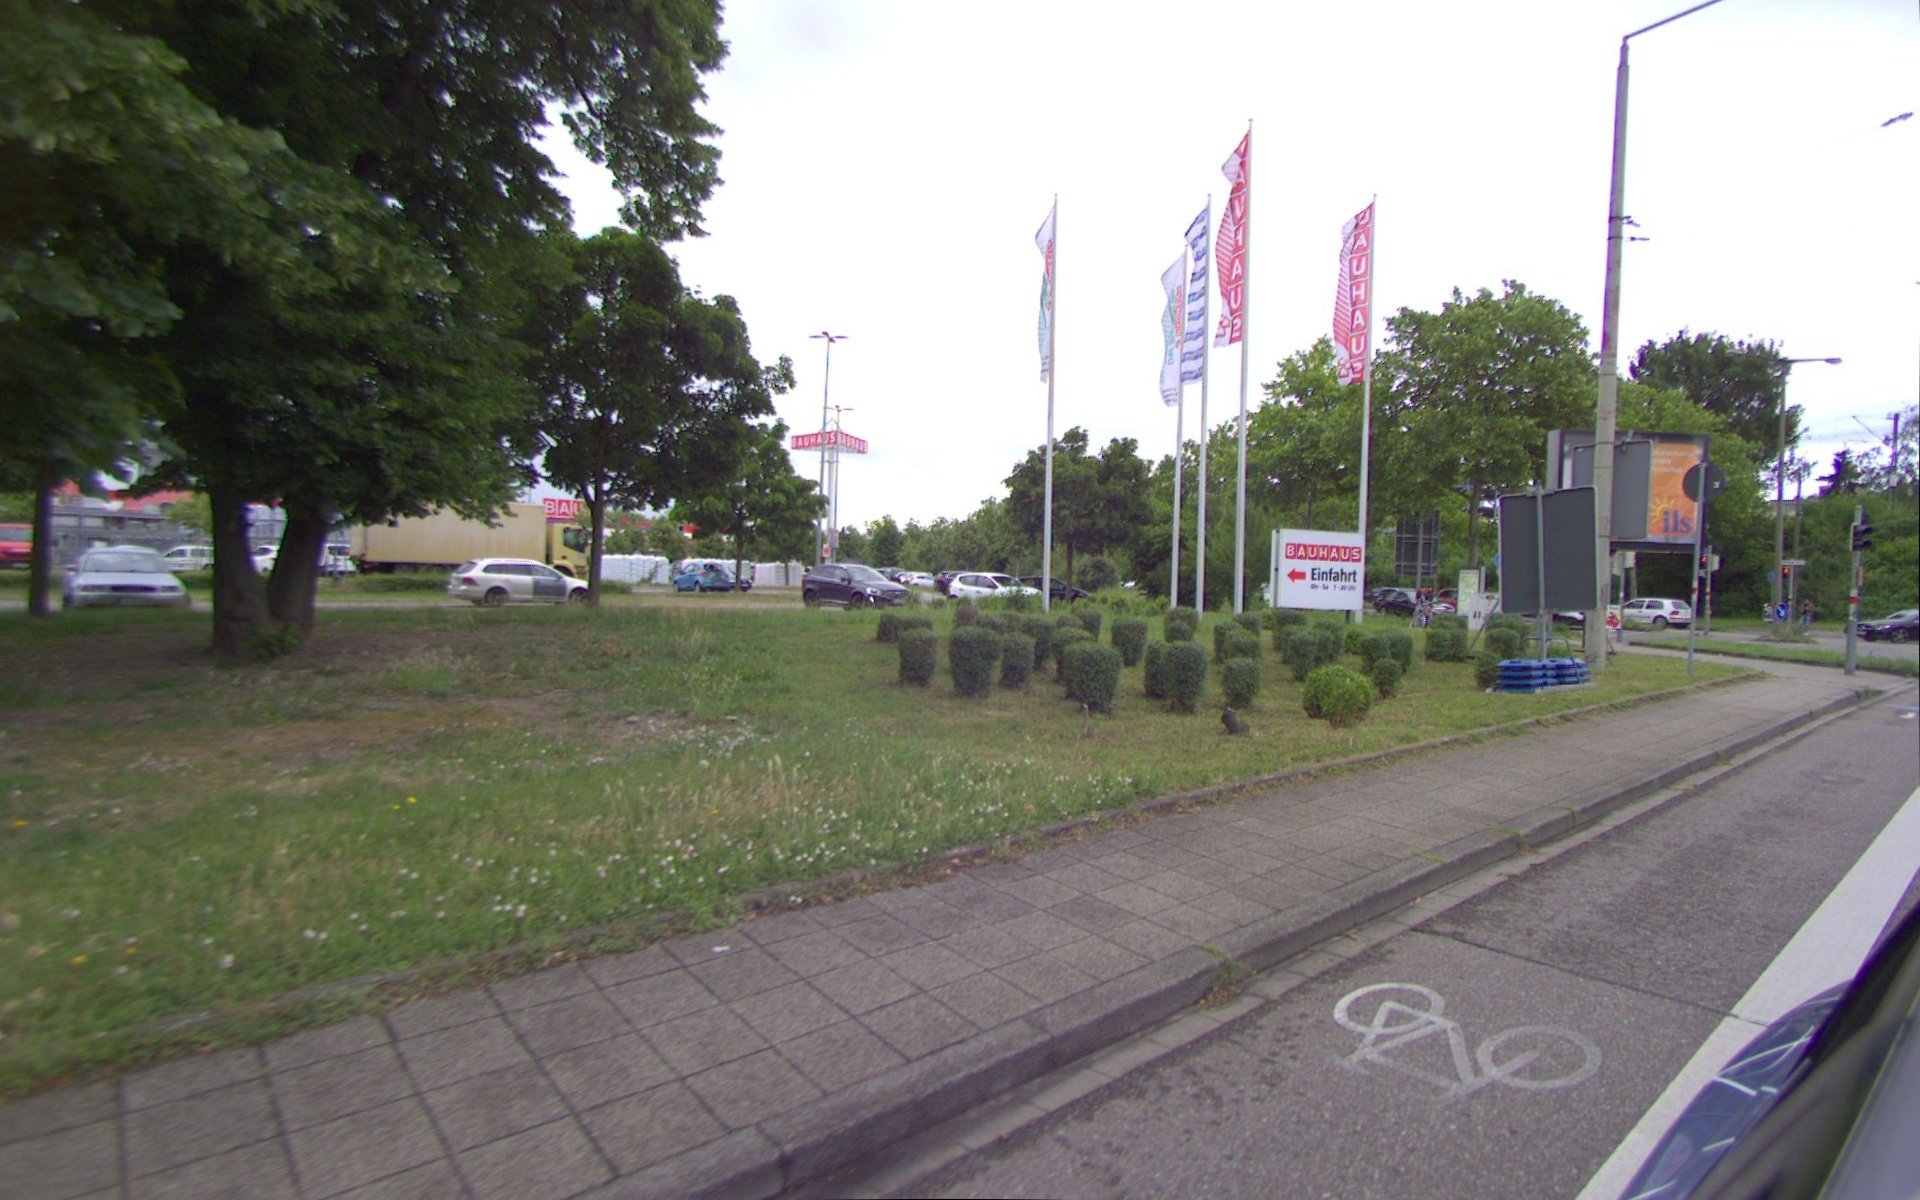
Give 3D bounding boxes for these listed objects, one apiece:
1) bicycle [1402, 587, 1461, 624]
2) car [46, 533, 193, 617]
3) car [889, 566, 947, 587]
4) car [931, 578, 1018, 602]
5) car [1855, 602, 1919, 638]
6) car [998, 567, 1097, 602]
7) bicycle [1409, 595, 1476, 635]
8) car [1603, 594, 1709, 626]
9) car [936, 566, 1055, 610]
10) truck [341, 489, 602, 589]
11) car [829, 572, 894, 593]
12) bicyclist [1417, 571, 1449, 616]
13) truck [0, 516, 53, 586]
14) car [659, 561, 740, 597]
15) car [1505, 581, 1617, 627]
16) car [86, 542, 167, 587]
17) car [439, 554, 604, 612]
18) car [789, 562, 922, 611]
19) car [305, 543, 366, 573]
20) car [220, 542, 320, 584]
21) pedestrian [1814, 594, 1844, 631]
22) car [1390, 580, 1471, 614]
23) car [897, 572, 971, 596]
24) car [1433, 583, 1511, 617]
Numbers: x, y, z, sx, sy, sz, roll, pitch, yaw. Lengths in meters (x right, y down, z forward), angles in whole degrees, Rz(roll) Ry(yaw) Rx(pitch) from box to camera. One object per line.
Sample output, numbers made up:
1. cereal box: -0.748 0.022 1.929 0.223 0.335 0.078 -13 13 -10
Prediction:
1. bicycle: 16.292 0.187 35.052 0.570 1.163 1.898 2 2 -24
2. car: -17.189 -0.477 20.621 4.445 1.516 1.900 1 1 45
3. car: -4.186 -2.372 101.162 5.616 1.917 2.156 2 2 -1
4. car: 0.959 -0.704 69.719 5.607 1.458 2.160 2 2 -10
5. car: 39.664 0.845 41.593 3.933 1.442 1.834 1 0 8
6. car: 3.883 -0.672 45.451 4.150 1.516 1.828 0 0 -5
7. bicycle: 15.022 0.455 31.547 1.779 1.131 0.487 2 1 12
8. car: 33.894 0.480 49.373 1.691 1.442 3.948 1 0 -25
9. car: 1.251 -0.447 37.086 1.900 1.516 4.224 0 1 -44
10. truck: -19.562 -2.274 41.040 9.091 3.609 2.944 0 0 -42
11. car: -9.047 -1.652 92.660 5.677 1.697 2.133 3 2 29
12. bicyclist: 16.333 -0.227 34.953 0.570 1.538 0.761 2 1 -24
13. truck: -42.196 -2.226 45.067 2.443 2.850 7.868 1 2 -44
14. car: -12.457 -1.020 48.142 1.952 1.525 4.564 1 2 -40
15. car: 26.336 0.120 44.550 1.842 1.851 4.429 0 2 -8
16. car: -34.928 -1.504 42.379 4.555 1.697 2.121 4 2 44
17. car: -13.840 -0.520 32.044 4.425 1.691 1.998 0 0 -40
18. car: -3.501 -0.447 33.368 4.600 1.516 1.900 1 1 45
19. car: -38.382 -2.569 62.126 4.555 1.697 2.121 4 2 44
20. car: -31.111 -1.681 45.628 4.535 1.697 2.131 3 2 32
21. pedestrian: 39.874 0.574 46.454 0.733 1.660 0.775 2 1 14
22. car: 22.840 -0.166 49.313 1.662 1.500 4.072 2 2 -7
23. car: -2.086 -1.270 80.615 5.607 1.697 2.160 2 2 -10
24. car: 25.712 -0.012 50.930 1.662 1.550 3.694 2 2 -7
